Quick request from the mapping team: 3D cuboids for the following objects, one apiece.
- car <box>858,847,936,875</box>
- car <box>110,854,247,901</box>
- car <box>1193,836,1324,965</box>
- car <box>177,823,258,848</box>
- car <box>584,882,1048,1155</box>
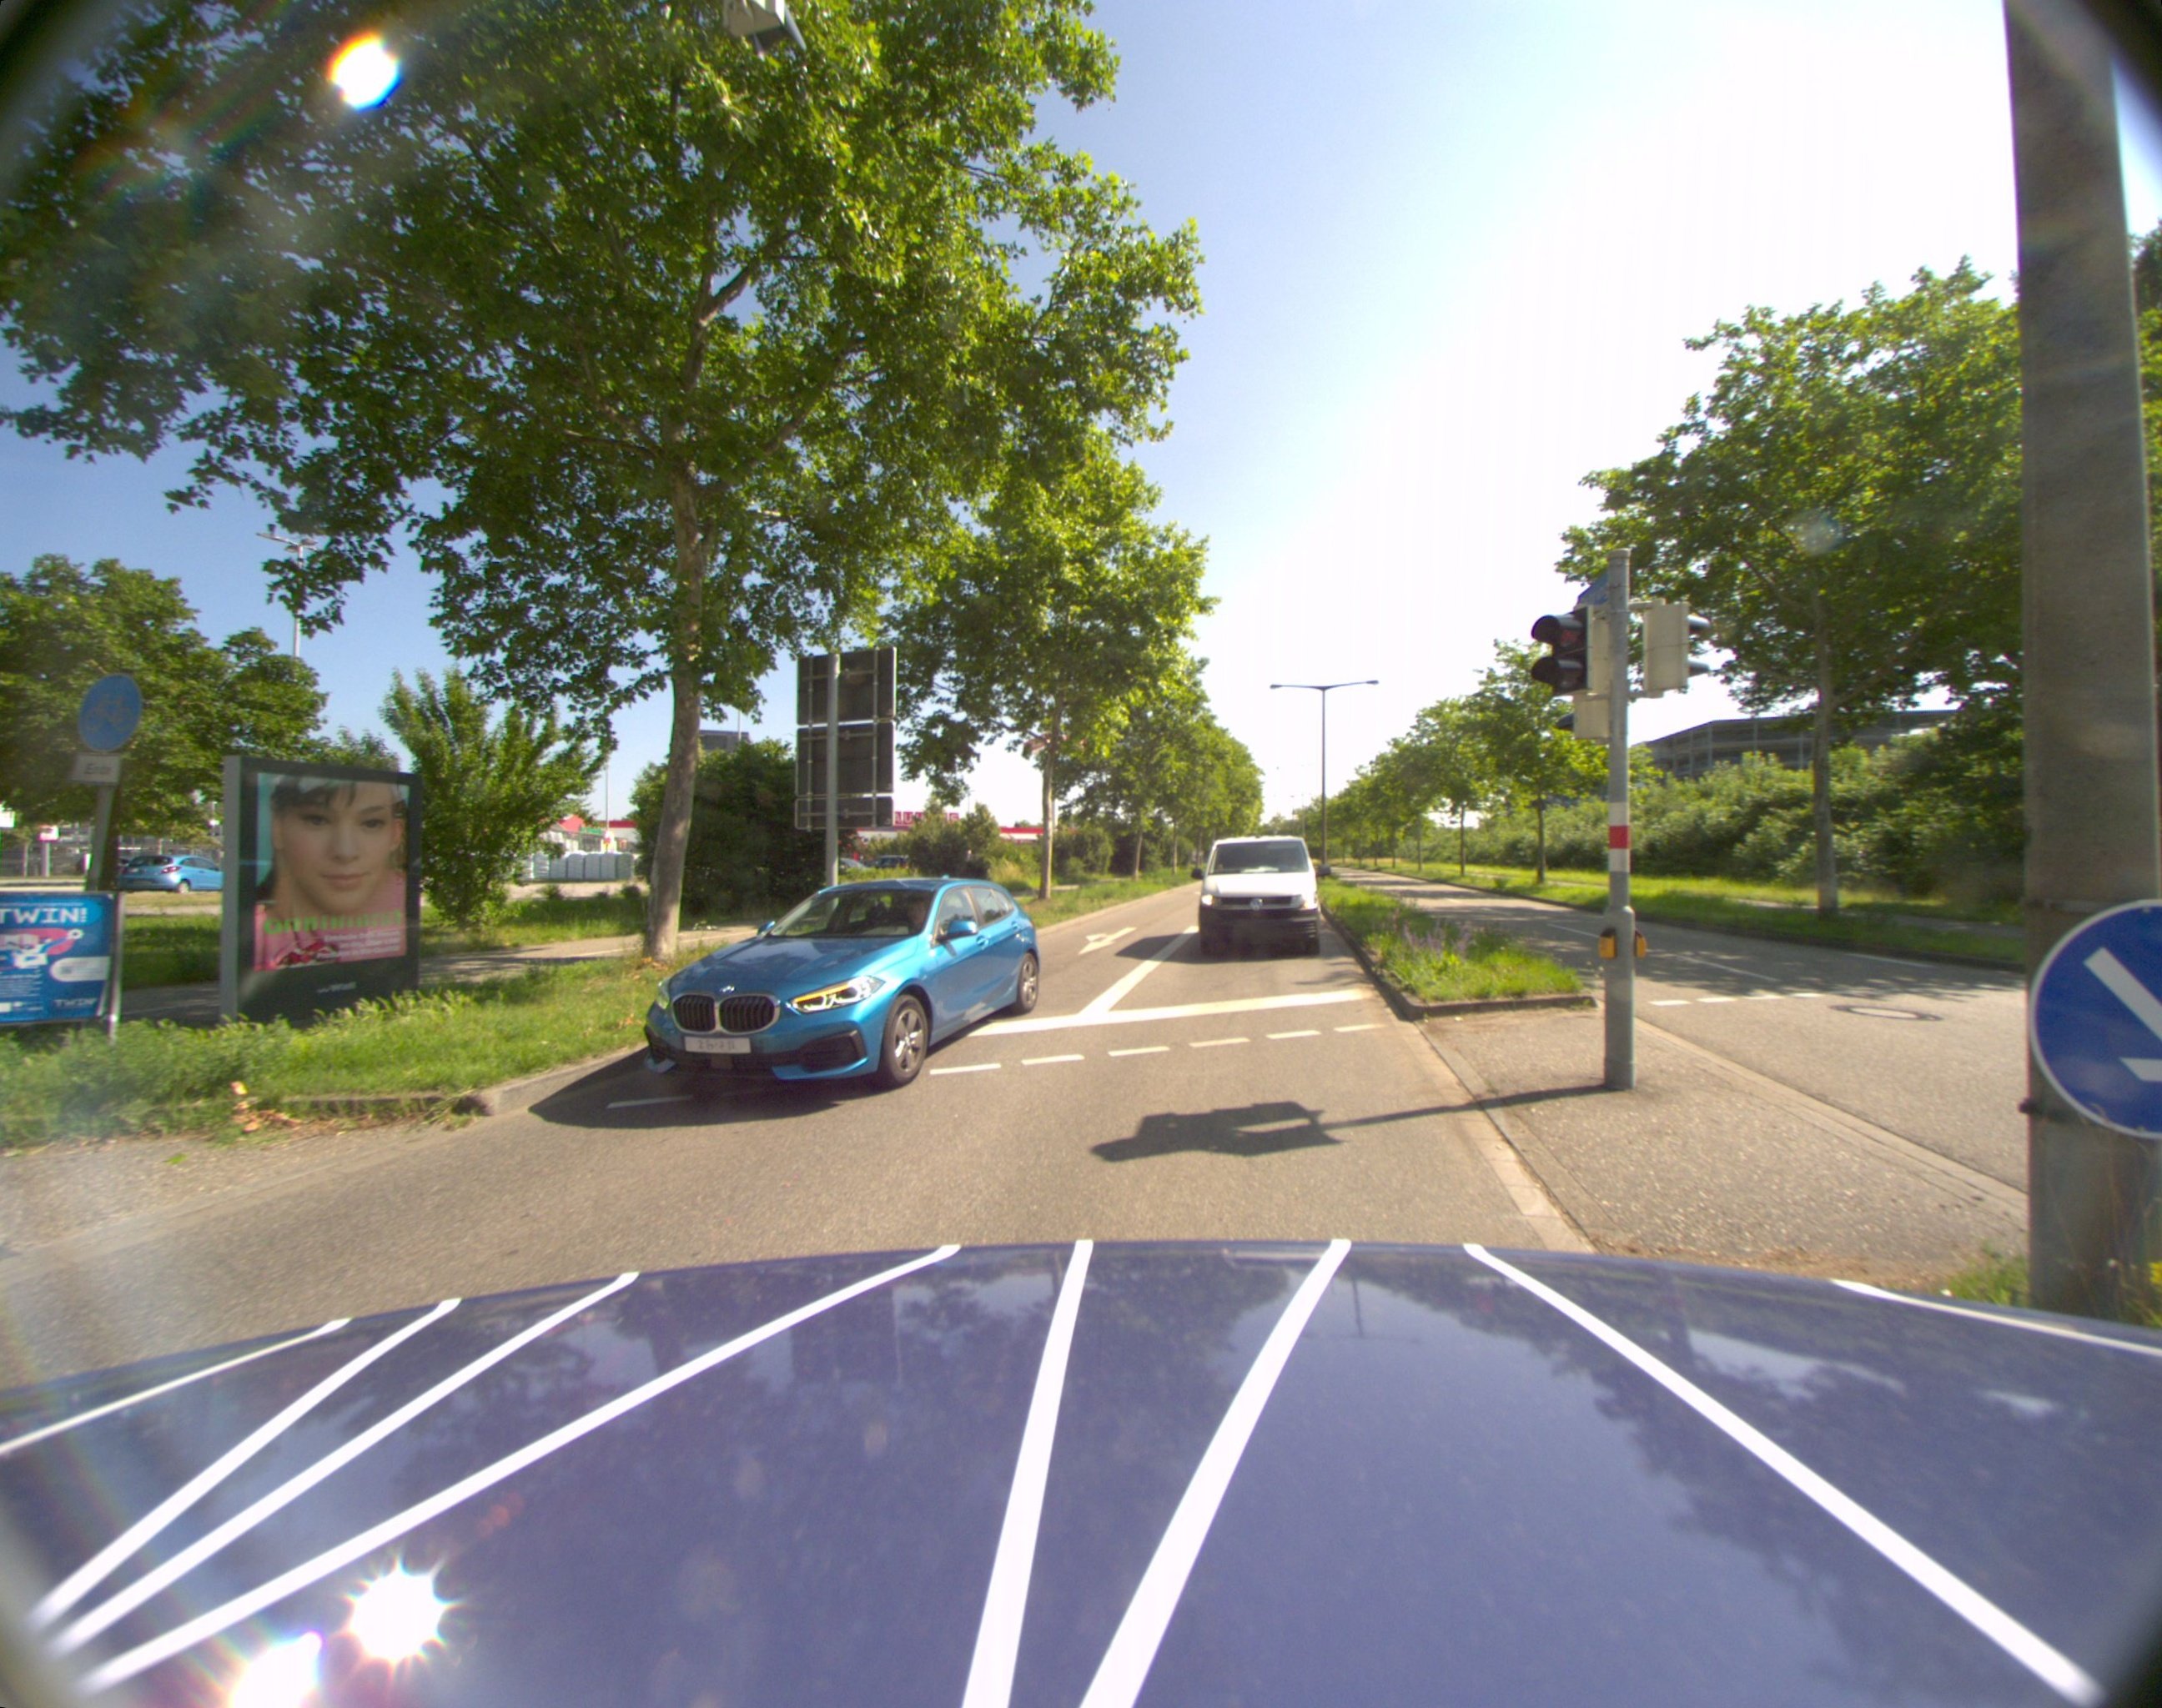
[{"bbox_3d":[-11.067,0.440,45.777,3.992,1.473,2.002,-3,0,18],"label":"car"},{"bbox_3d":[-32.800,0.813,27.764,1.544,1.523,3.482,-3,0,-18],"label":"car"},{"bbox_3d":[3.176,0.684,13.695,1.870,1.889,4.886,-1,0,13],"label":"car"},{"bbox_3d":[-60.374,-1.260,53.250,1.790,1.521,4.385,-3,0,-20],"label":"car"},{"bbox_3d":[-1.752,1.037,6.616,1.870,1.412,4.134,-1,0,13],"label":"car"}]
